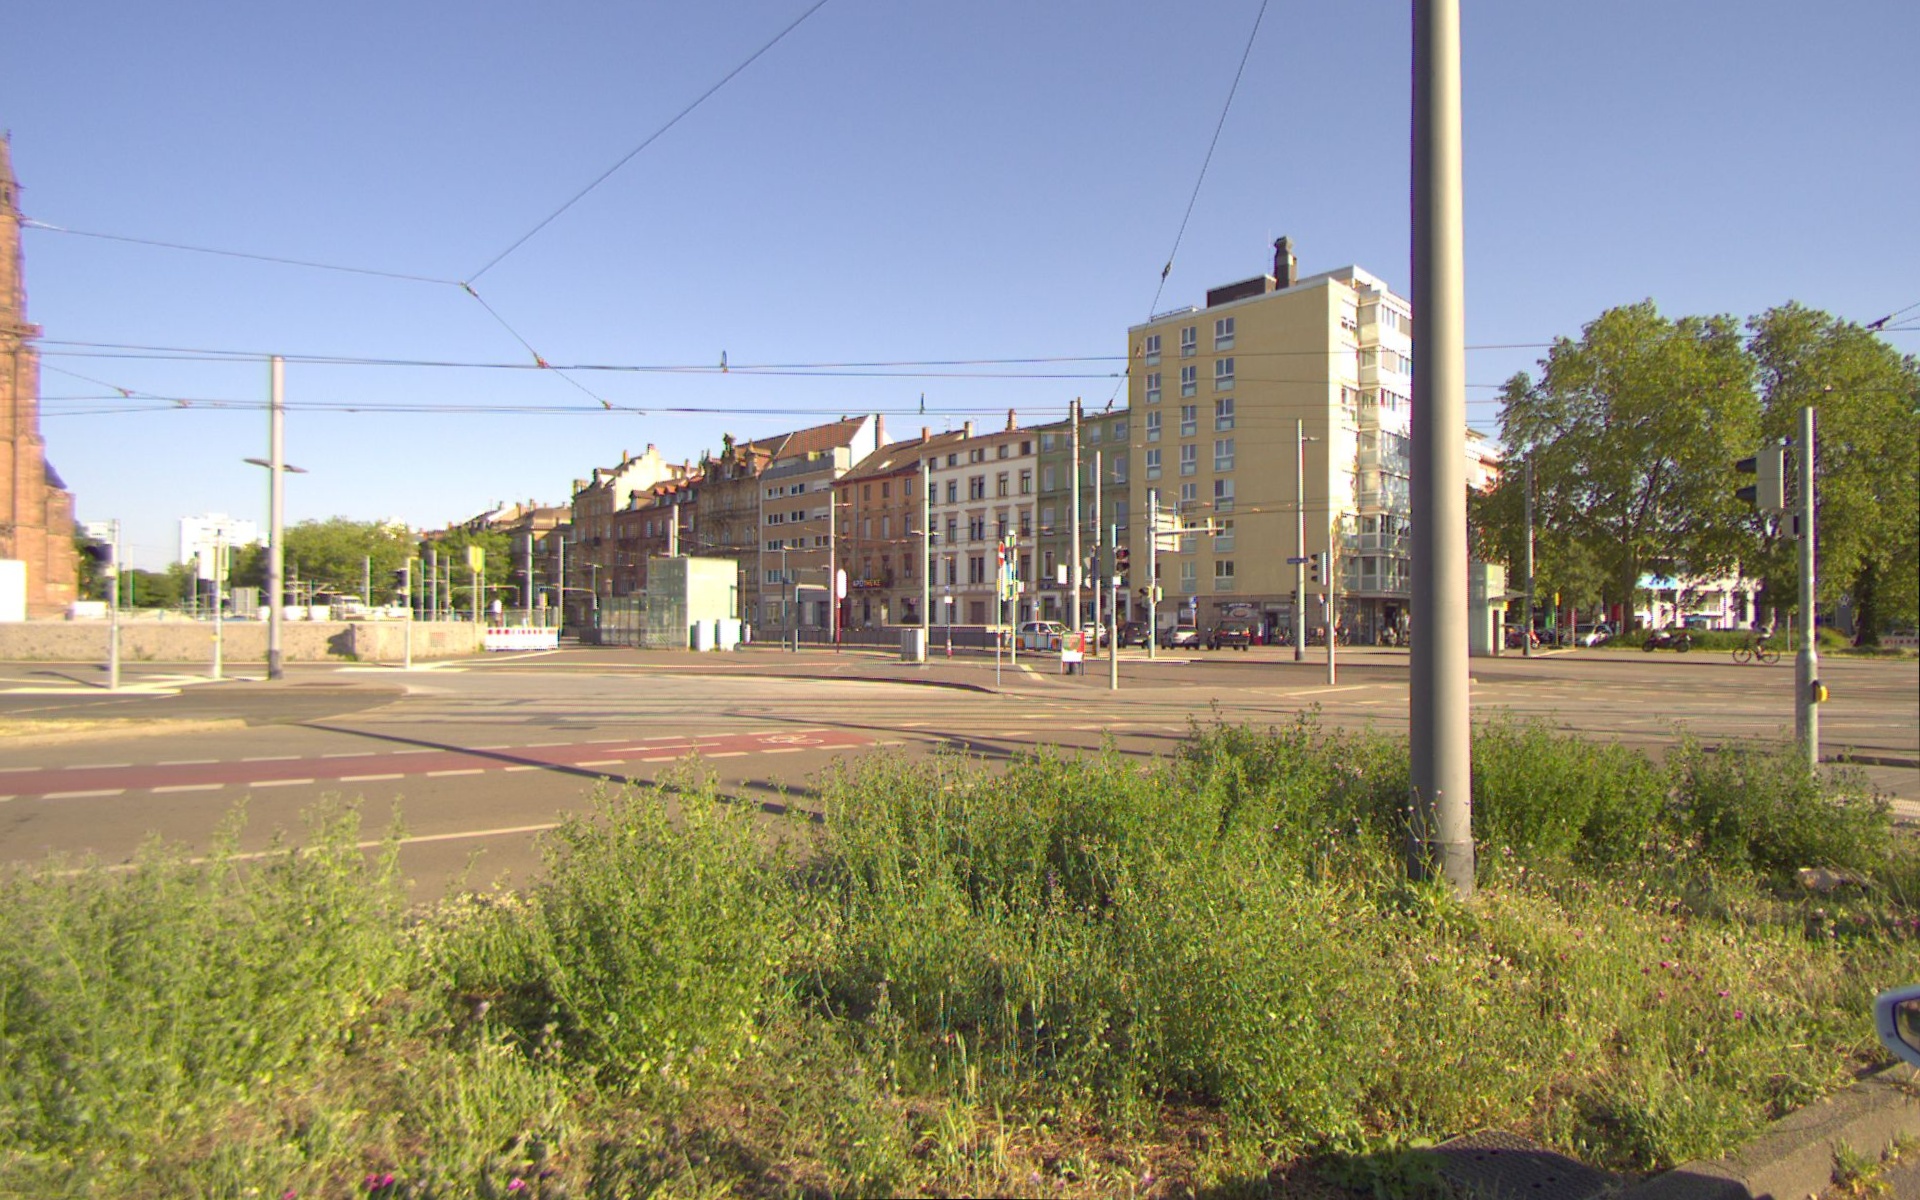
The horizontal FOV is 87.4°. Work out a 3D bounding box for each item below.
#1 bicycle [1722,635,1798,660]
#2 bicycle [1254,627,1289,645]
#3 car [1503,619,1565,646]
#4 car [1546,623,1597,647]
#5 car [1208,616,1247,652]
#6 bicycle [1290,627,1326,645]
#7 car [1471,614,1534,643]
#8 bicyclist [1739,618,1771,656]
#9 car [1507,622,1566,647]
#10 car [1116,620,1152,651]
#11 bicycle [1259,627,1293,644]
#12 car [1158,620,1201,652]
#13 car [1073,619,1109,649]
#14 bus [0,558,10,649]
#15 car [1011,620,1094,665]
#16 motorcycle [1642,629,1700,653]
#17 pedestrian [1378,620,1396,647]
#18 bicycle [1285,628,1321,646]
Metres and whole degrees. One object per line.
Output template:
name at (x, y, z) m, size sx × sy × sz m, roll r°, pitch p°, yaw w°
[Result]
bicycle at (33.676, 1.985, 42.307) m, size 0.956 × 1.016 × 2.416 m, roll 1°, pitch -2°, yaw -42°
bicycle at (20.035, 2.316, 64.703) m, size 2.021 × 1.105 × 0.772 m, roll -1°, pitch -2°, yaw 45°
car at (42.608, 2.409, 74.685) m, size 3.927 × 1.882 × 1.850 m, roll -1°, pitch 1°, yaw 29°
car at (39.938, 2.248, 65.571) m, size 3.972 × 1.471 × 1.829 m, roll 1°, pitch -1°, yaw -43°
car at (15.425, 1.925, 58.095) m, size 1.815 × 1.882 × 4.002 m, roll -1°, pitch 0°, yaw 9°
bicycle at (22.123, 2.292, 63.837) m, size 2.021 × 1.105 × 0.772 m, roll -1°, pitch -2°, yaw 45°
car at (38.772, 2.003, 71.839) m, size 3.927 × 2.040 × 1.997 m, roll 0°, pitch -1°, yaw 29°
bicyclist at (33.581, 1.542, 42.412) m, size 0.956 × 1.580 × 0.915 m, roll 1°, pitch -1°, yaw -42°
car at (45.100, 2.660, 78.654) m, size 3.927 × 1.882 × 1.850 m, roll -1°, pitch 1°, yaw 29°
car at (10.798, 2.150, 62.414) m, size 1.802 × 1.742 × 4.001 m, roll -1°, pitch 0°, yaw 4°
bicycle at (20.571, 2.303, 65.392) m, size 2.021 × 1.105 × 0.772 m, roll -1°, pitch -2°, yaw 45°
car at (13.059, 2.119, 60.075) m, size 1.803 × 1.772 × 4.000 m, roll -1°, pitch 0°, yaw 2°
car at (8.451, 2.165, 65.053) m, size 2.045 × 1.742 × 4.011 m, roll -1°, pitch 0°, yaw 4°
bus at (-32.598, 0.139, 26.247) m, size 11.949 × 3.359 × 3.252 m, roll 2°, pitch -4°, yaw -1°
car at (4.617, 2.091, 50.411) m, size 3.695 × 2.041 × 1.988 m, roll 0°, pitch 1°, yaw 44°
motorcycle at (34.938, 2.001, 49.377) m, size 0.681 × 1.068 × 2.266 m, roll -1°, pitch 1°, yaw -39°
pedestrian at (26.628, 2.086, 62.621) m, size 0.777 × 1.698 × 0.768 m, roll 1°, pitch -1°, yaw -44°
bicycle at (21.578, 2.304, 63.190) m, size 2.021 × 1.105 × 0.772 m, roll -1°, pitch -2°, yaw 45°
